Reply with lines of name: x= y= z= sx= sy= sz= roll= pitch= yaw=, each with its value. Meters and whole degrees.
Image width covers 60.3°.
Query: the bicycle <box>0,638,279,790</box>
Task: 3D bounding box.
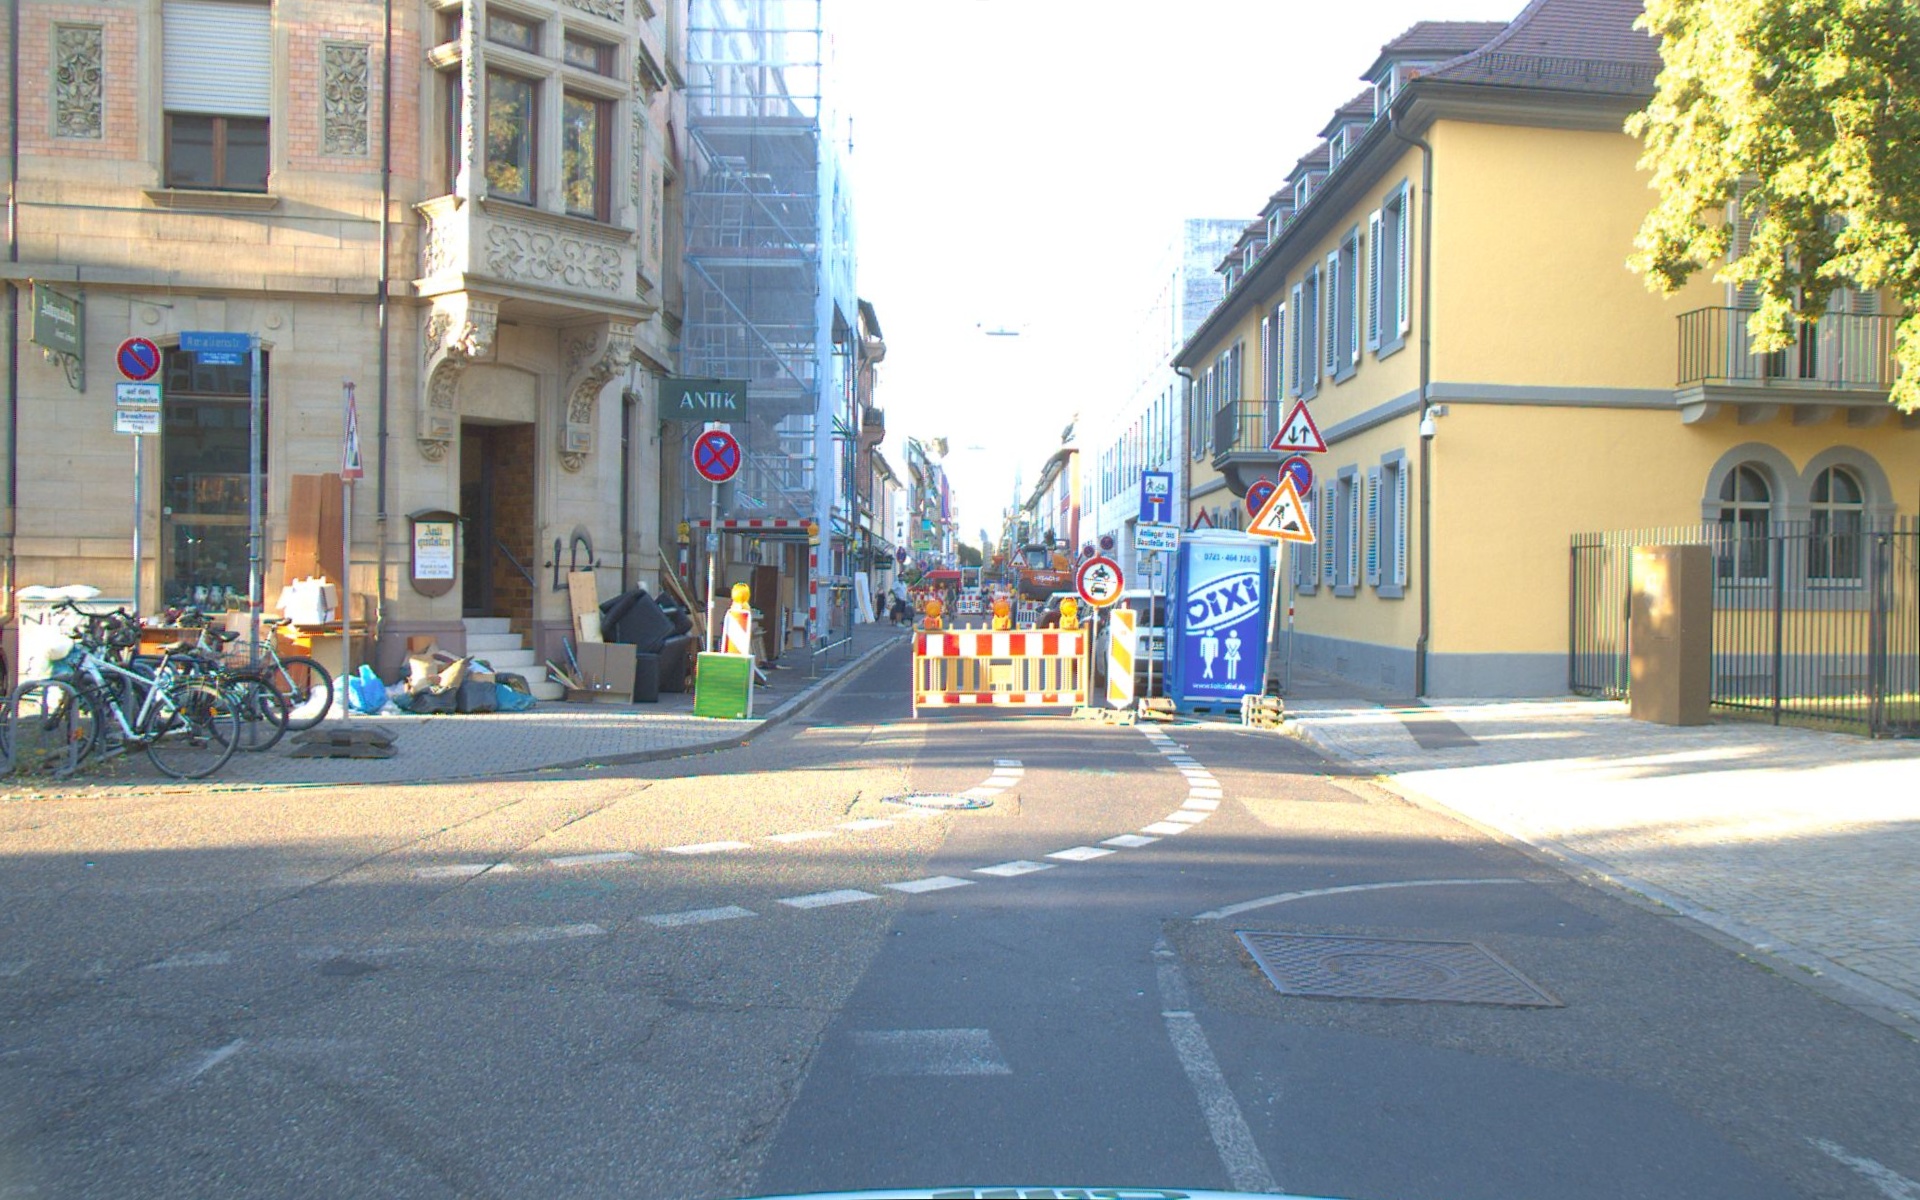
bicycle: x=-6.026 y=0.824 z=12.145 sx=1.791 sy=1.065 sz=0.570 roll=0 pitch=1 yaw=-7

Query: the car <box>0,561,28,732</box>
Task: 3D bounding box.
car: x=-9.319 y=0.478 z=13.117 sx=1.870 sy=1.537 sz=4.533 roll=0 pitch=2 yaw=-9

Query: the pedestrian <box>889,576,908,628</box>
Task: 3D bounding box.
pedestrian: x=-2.173 y=0.068 z=58.446 sx=0.501 sy=1.795 sz=0.505 roll=0 pitch=0 yaw=-40

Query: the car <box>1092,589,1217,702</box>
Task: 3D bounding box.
car: x=2.853 y=0.625 z=24.748 sx=1.508 sy=1.546 sz=3.222 roll=2 pitch=0 yaw=1

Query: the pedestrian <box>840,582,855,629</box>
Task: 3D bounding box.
pedestrian: x=-3.849 y=0.201 z=56.618 sx=0.335 sy=1.594 sz=0.421 roll=1 pitch=-1 yaw=22

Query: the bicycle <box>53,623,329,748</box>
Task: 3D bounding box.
bicycle: x=-6.641 y=0.724 z=14.376 sx=2.065 sy=1.031 sz=0.638 roll=0 pitch=0 yaw=-11

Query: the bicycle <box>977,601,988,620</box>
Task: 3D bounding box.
bicycle: x=1.073 y=0.494 z=78.115 sx=0.494 sy=0.899 sz=1.477 roll=0 pitch=0 yaw=1

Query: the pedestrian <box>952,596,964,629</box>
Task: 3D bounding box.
pedestrian: x=-0.108 y=0.577 z=75.954 sx=0.494 sy=1.486 sz=0.513 roll=0 pitch=0 yaw=7

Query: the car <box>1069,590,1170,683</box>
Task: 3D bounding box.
car: x=2.800 y=0.600 z=29.641 sx=1.508 sy=1.546 sz=3.979 roll=0 pitch=0 yaw=1

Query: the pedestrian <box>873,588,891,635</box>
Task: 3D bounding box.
pedestrian: x=-3.006 y=0.441 z=63.732 sx=0.662 sy=1.763 sz=0.699 roll=1 pitch=-1 yaw=-3

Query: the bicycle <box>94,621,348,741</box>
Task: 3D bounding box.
bicycle: x=-6.737 y=0.725 z=15.151 sx=2.065 sy=1.058 sz=0.464 roll=0 pitch=0 yaw=-11

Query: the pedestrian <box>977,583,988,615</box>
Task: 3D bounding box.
pedestrian: x=1.075 y=-0.039 z=77.992 sx=0.494 sy=1.486 sz=0.512 roll=0 pitch=0 yaw=1

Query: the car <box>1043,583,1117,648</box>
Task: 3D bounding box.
car: x=2.949 y=0.361 z=41.181 sx=1.682 sy=1.546 sz=3.222 roll=0 pitch=0 yaw=1

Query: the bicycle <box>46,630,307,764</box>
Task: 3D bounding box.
bicycle: x=-6.301 y=0.767 z=13.386 sx=1.793 sy=1.031 sz=0.638 roll=0 pitch=0 yaw=-11

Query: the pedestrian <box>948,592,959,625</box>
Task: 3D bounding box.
pedestrian: x=-0.279 y=0.371 z=73.042 sx=0.494 sy=1.486 sz=0.512 roll=0 pitch=0 yaw=1
